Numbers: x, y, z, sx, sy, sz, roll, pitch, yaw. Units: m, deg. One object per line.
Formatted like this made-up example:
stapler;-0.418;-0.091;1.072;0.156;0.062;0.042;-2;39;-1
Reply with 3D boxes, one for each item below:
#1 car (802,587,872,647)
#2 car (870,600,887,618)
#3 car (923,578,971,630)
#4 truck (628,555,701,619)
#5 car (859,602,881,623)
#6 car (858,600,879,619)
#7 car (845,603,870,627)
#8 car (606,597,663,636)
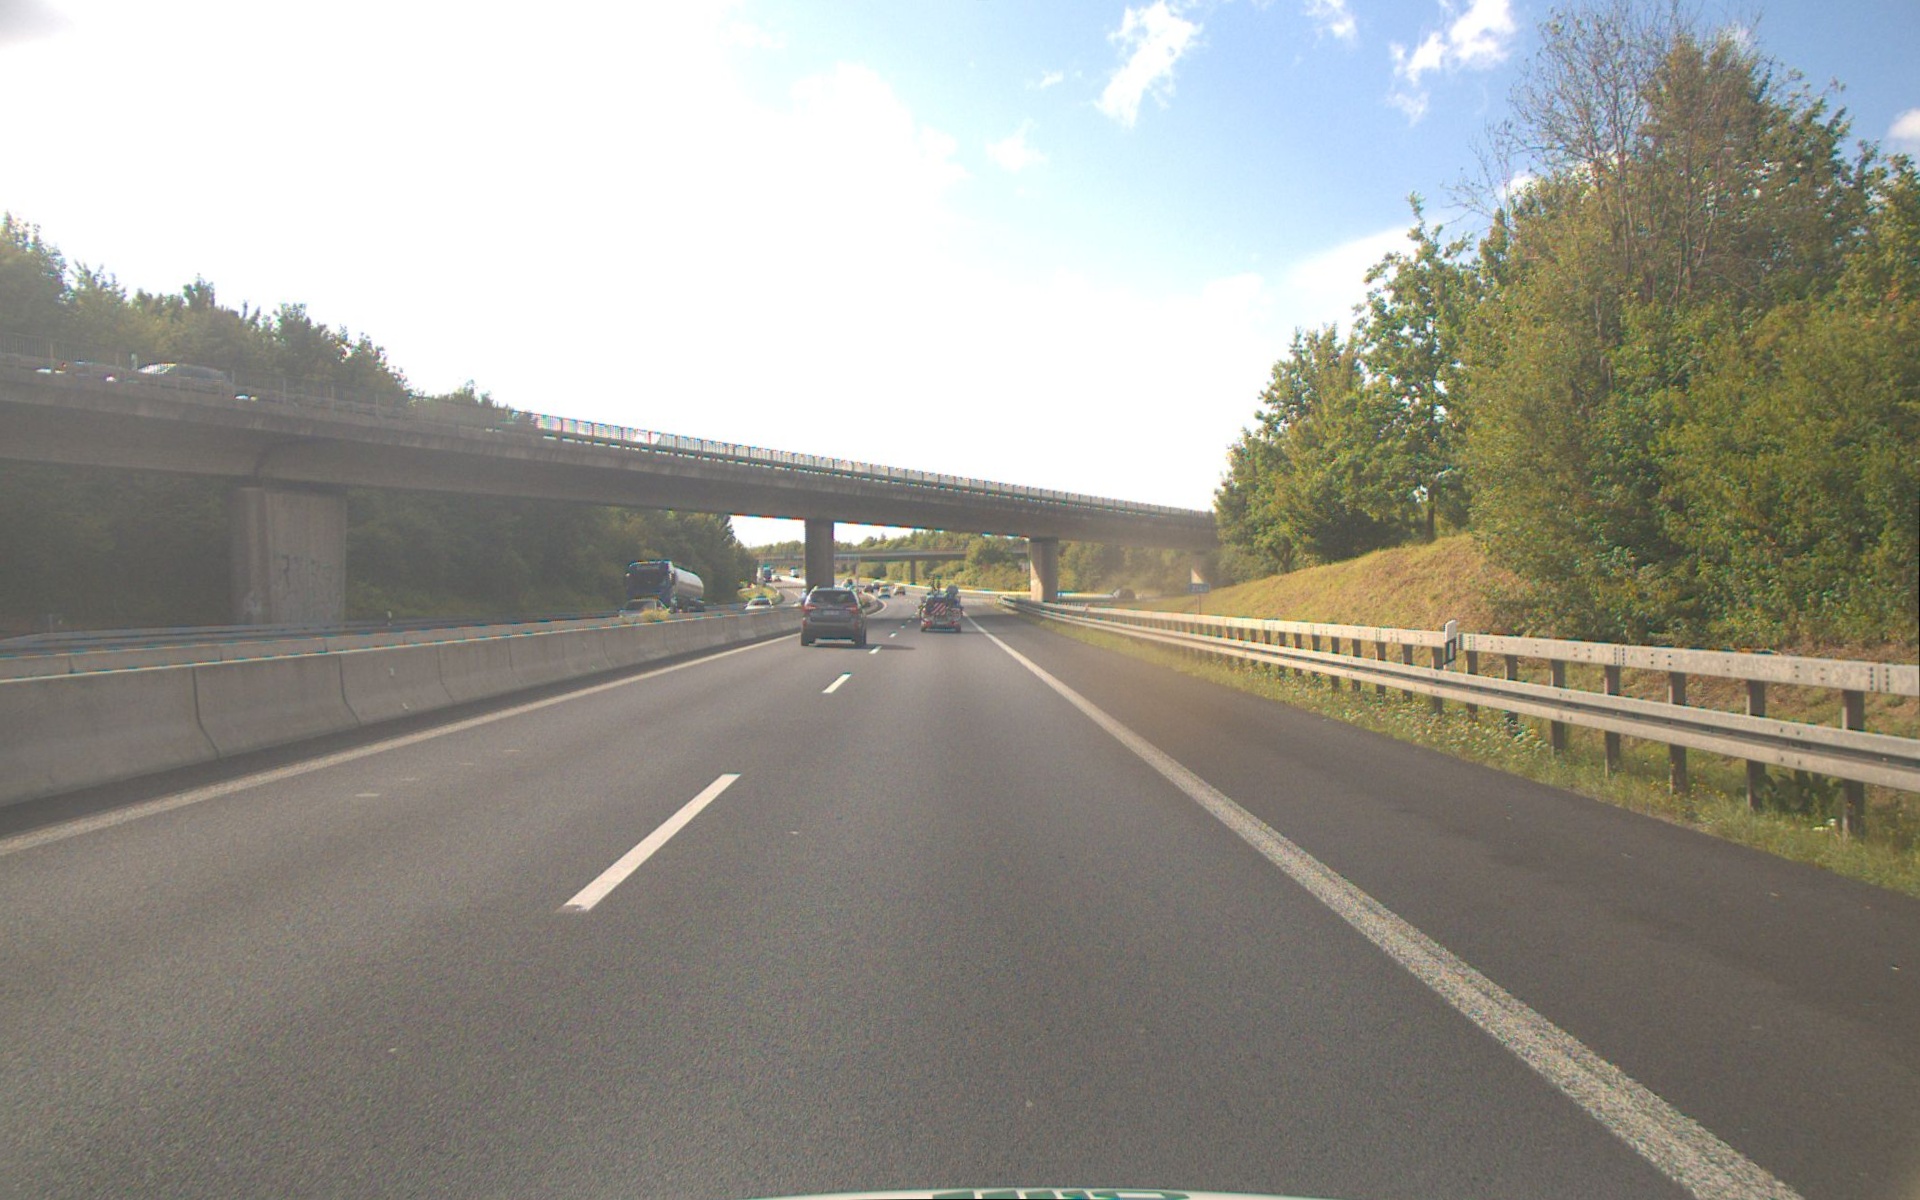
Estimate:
car;-3.642;0.486;49.451;1.714;1.659;3.609;-1;0;1
car;-9.753;1.024;198.032;1.953;2.049;3.999;-1;0;-1
car;-0.566;0.164;71.421;1.953;2.117;4.000;-1;0;0
truck;-17.189;-0.726;96.797;2.621;3.506;9.826;-1;0;-1
car;-9.123;1.279;167.600;1.953;2.049;3.999;-1;0;-1
car;-9.825;1.010;177.829;1.953;2.049;3.999;-1;0;-1
car;-9.039;1.307;146.507;1.953;2.049;3.999;-1;0;-1
car;-14.499;0.723;73.791;1.714;1.659;3.609;-1;0;1
